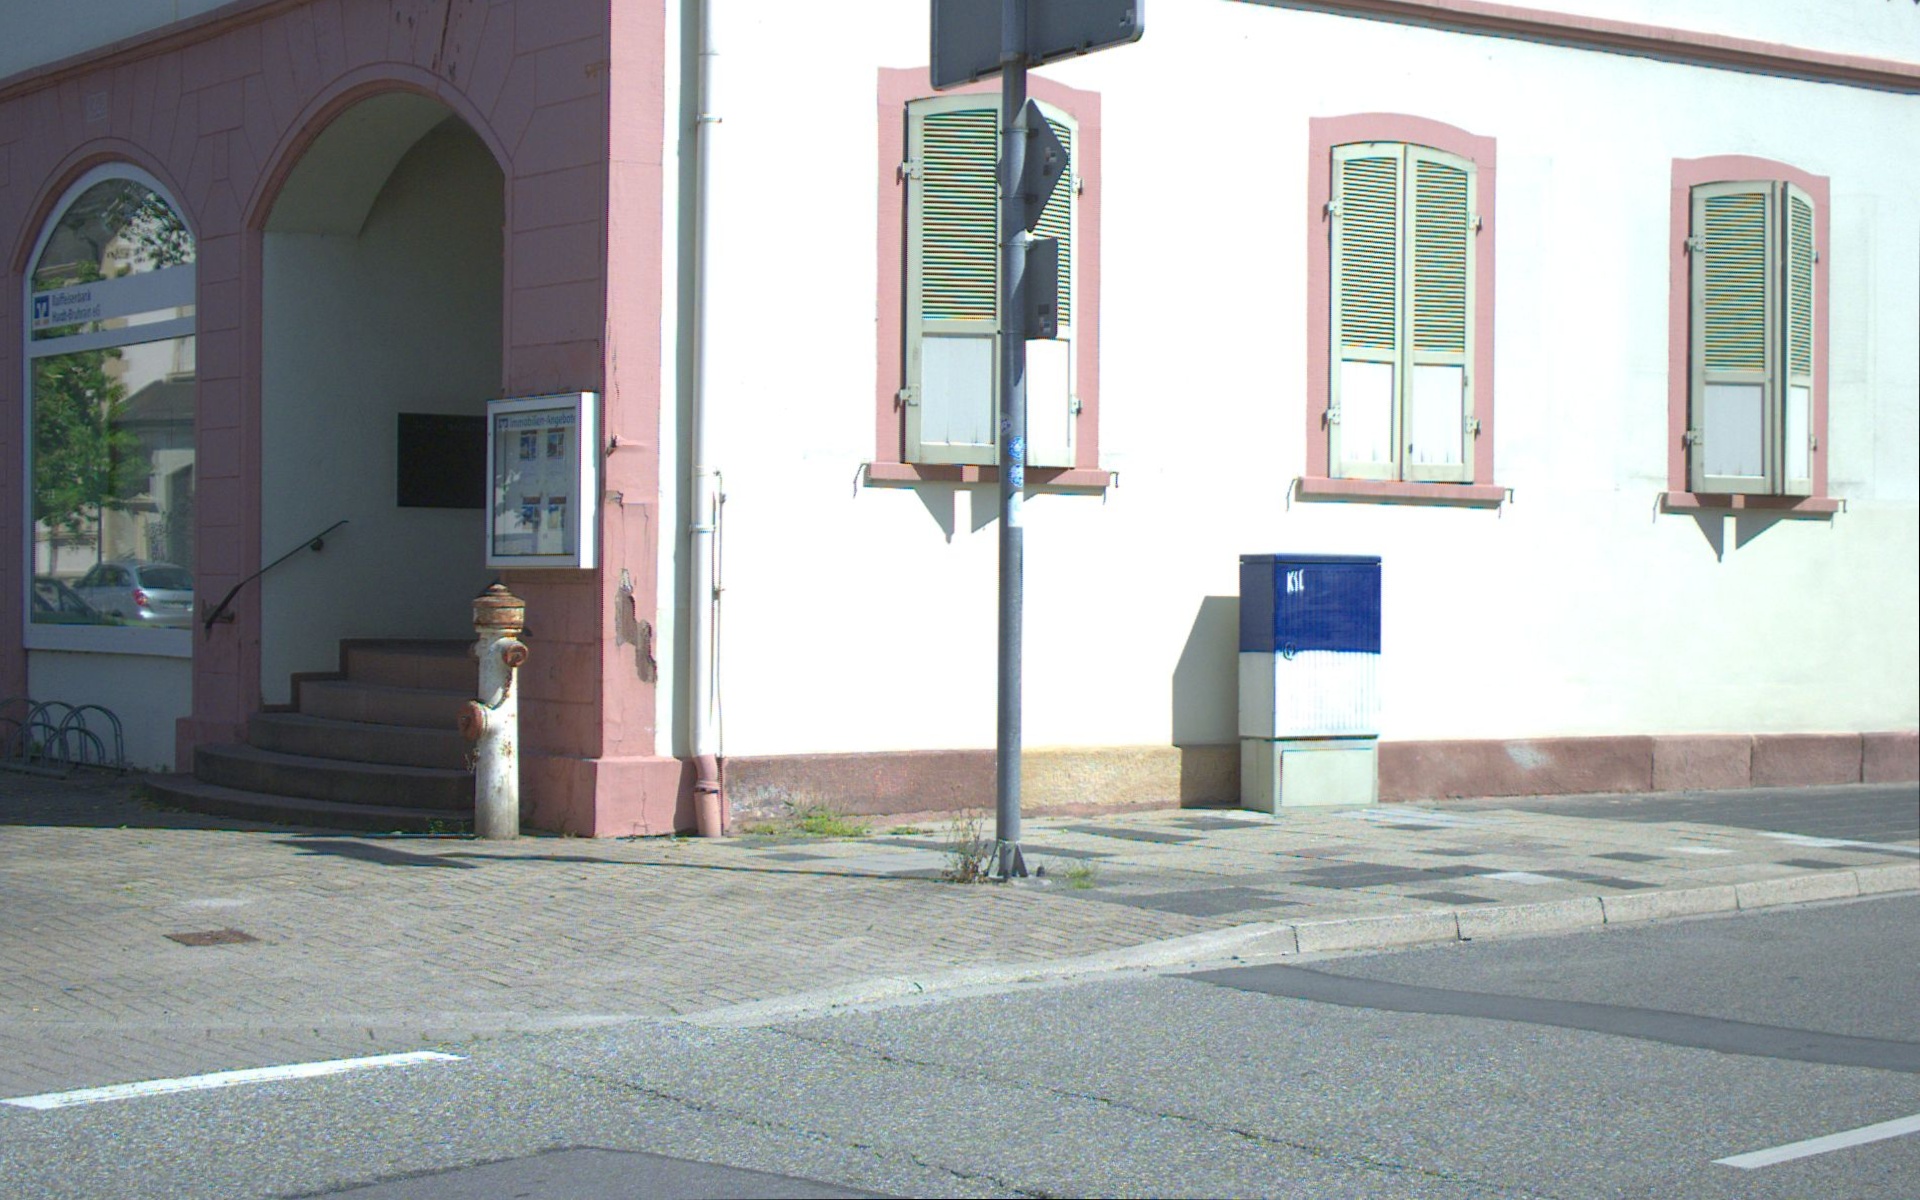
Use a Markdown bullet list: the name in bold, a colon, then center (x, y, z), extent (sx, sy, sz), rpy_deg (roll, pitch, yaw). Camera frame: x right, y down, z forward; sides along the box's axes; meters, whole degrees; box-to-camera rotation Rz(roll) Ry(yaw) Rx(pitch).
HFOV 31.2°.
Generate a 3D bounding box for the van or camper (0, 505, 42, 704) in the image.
- **van or camper**: center (-11.523, 0.023, 34.783), extent (3.986, 2.007, 2.000), rpy_deg (0, 1, -26)
